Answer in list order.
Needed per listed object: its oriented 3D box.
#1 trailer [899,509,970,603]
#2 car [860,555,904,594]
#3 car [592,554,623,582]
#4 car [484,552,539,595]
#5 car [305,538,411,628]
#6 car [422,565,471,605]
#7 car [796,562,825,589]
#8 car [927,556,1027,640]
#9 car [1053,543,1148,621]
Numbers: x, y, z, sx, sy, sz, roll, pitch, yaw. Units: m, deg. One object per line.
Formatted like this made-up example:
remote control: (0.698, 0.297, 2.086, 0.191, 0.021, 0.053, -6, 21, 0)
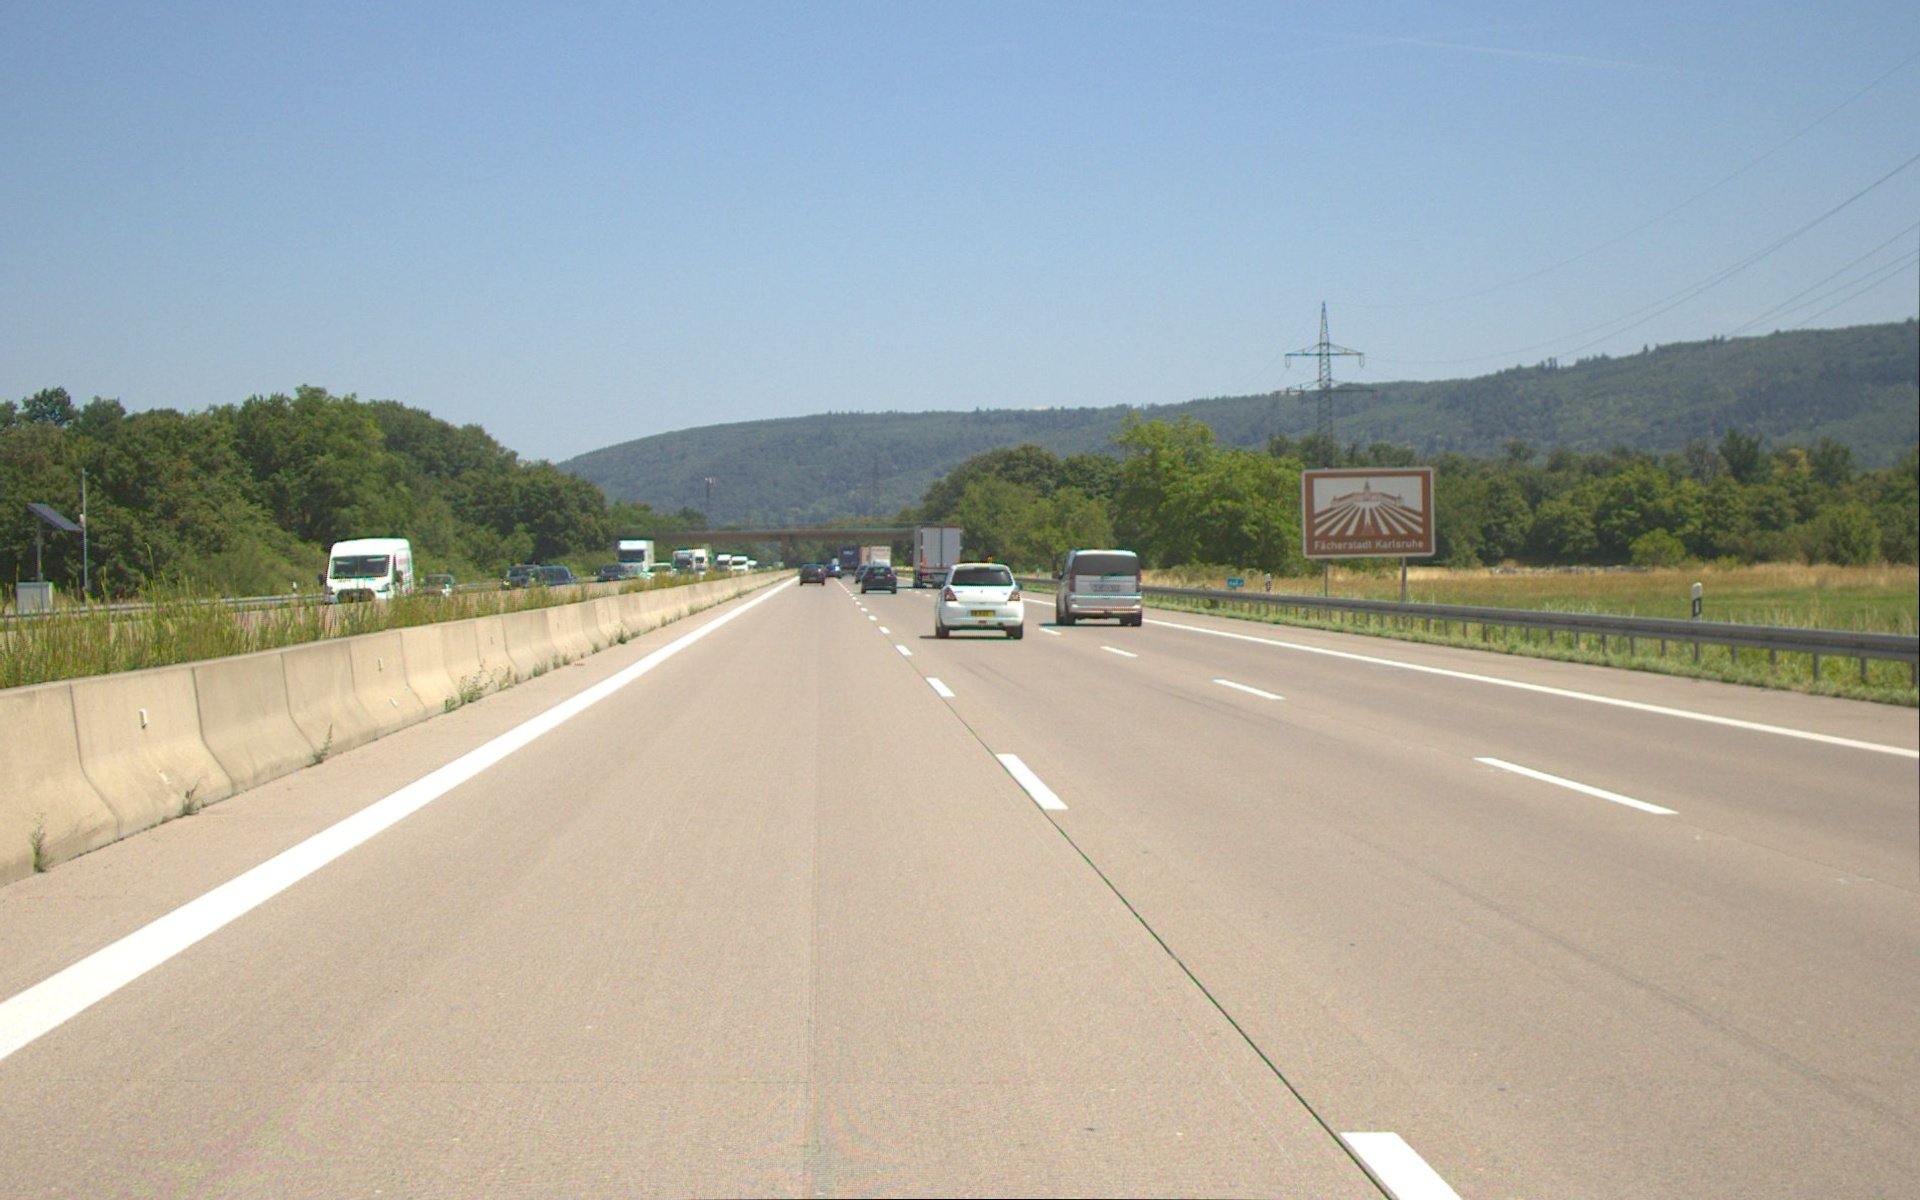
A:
trailer: (-1.682, -2.819, 219.416, 3.720, 5.791, 12.163, 1, 1, -4)
car: (-3.981, -1.305, 174.783, 1.993, 1.842, 4.001, 3, 1, -4)
car: (-23.714, -2.171, 231.308, 1.993, 1.831, 4.817, 1, 1, -5)
car: (-20.715, -1.243, 158.869, 1.993, 1.908, 4.402, 1, 1, 0)
car: (-17.563, -0.528, 100.504, 2.212, 2.511, 6.125, 1, 1, -2)
car: (-23.848, -0.695, 159.711, 1.993, 1.777, 4.001, 1, 1, -5)
car: (-10.279, -1.670, 236.440, 1.928, 1.787, 4.001, 1, 1, -3)
car: (0.313, -0.061, 70.178, 1.819, 1.656, 4.001, 0, 1, -3)
car: (3.487, -0.470, 86.052, 1.993, 1.842, 4.001, 1, 1, -3)
